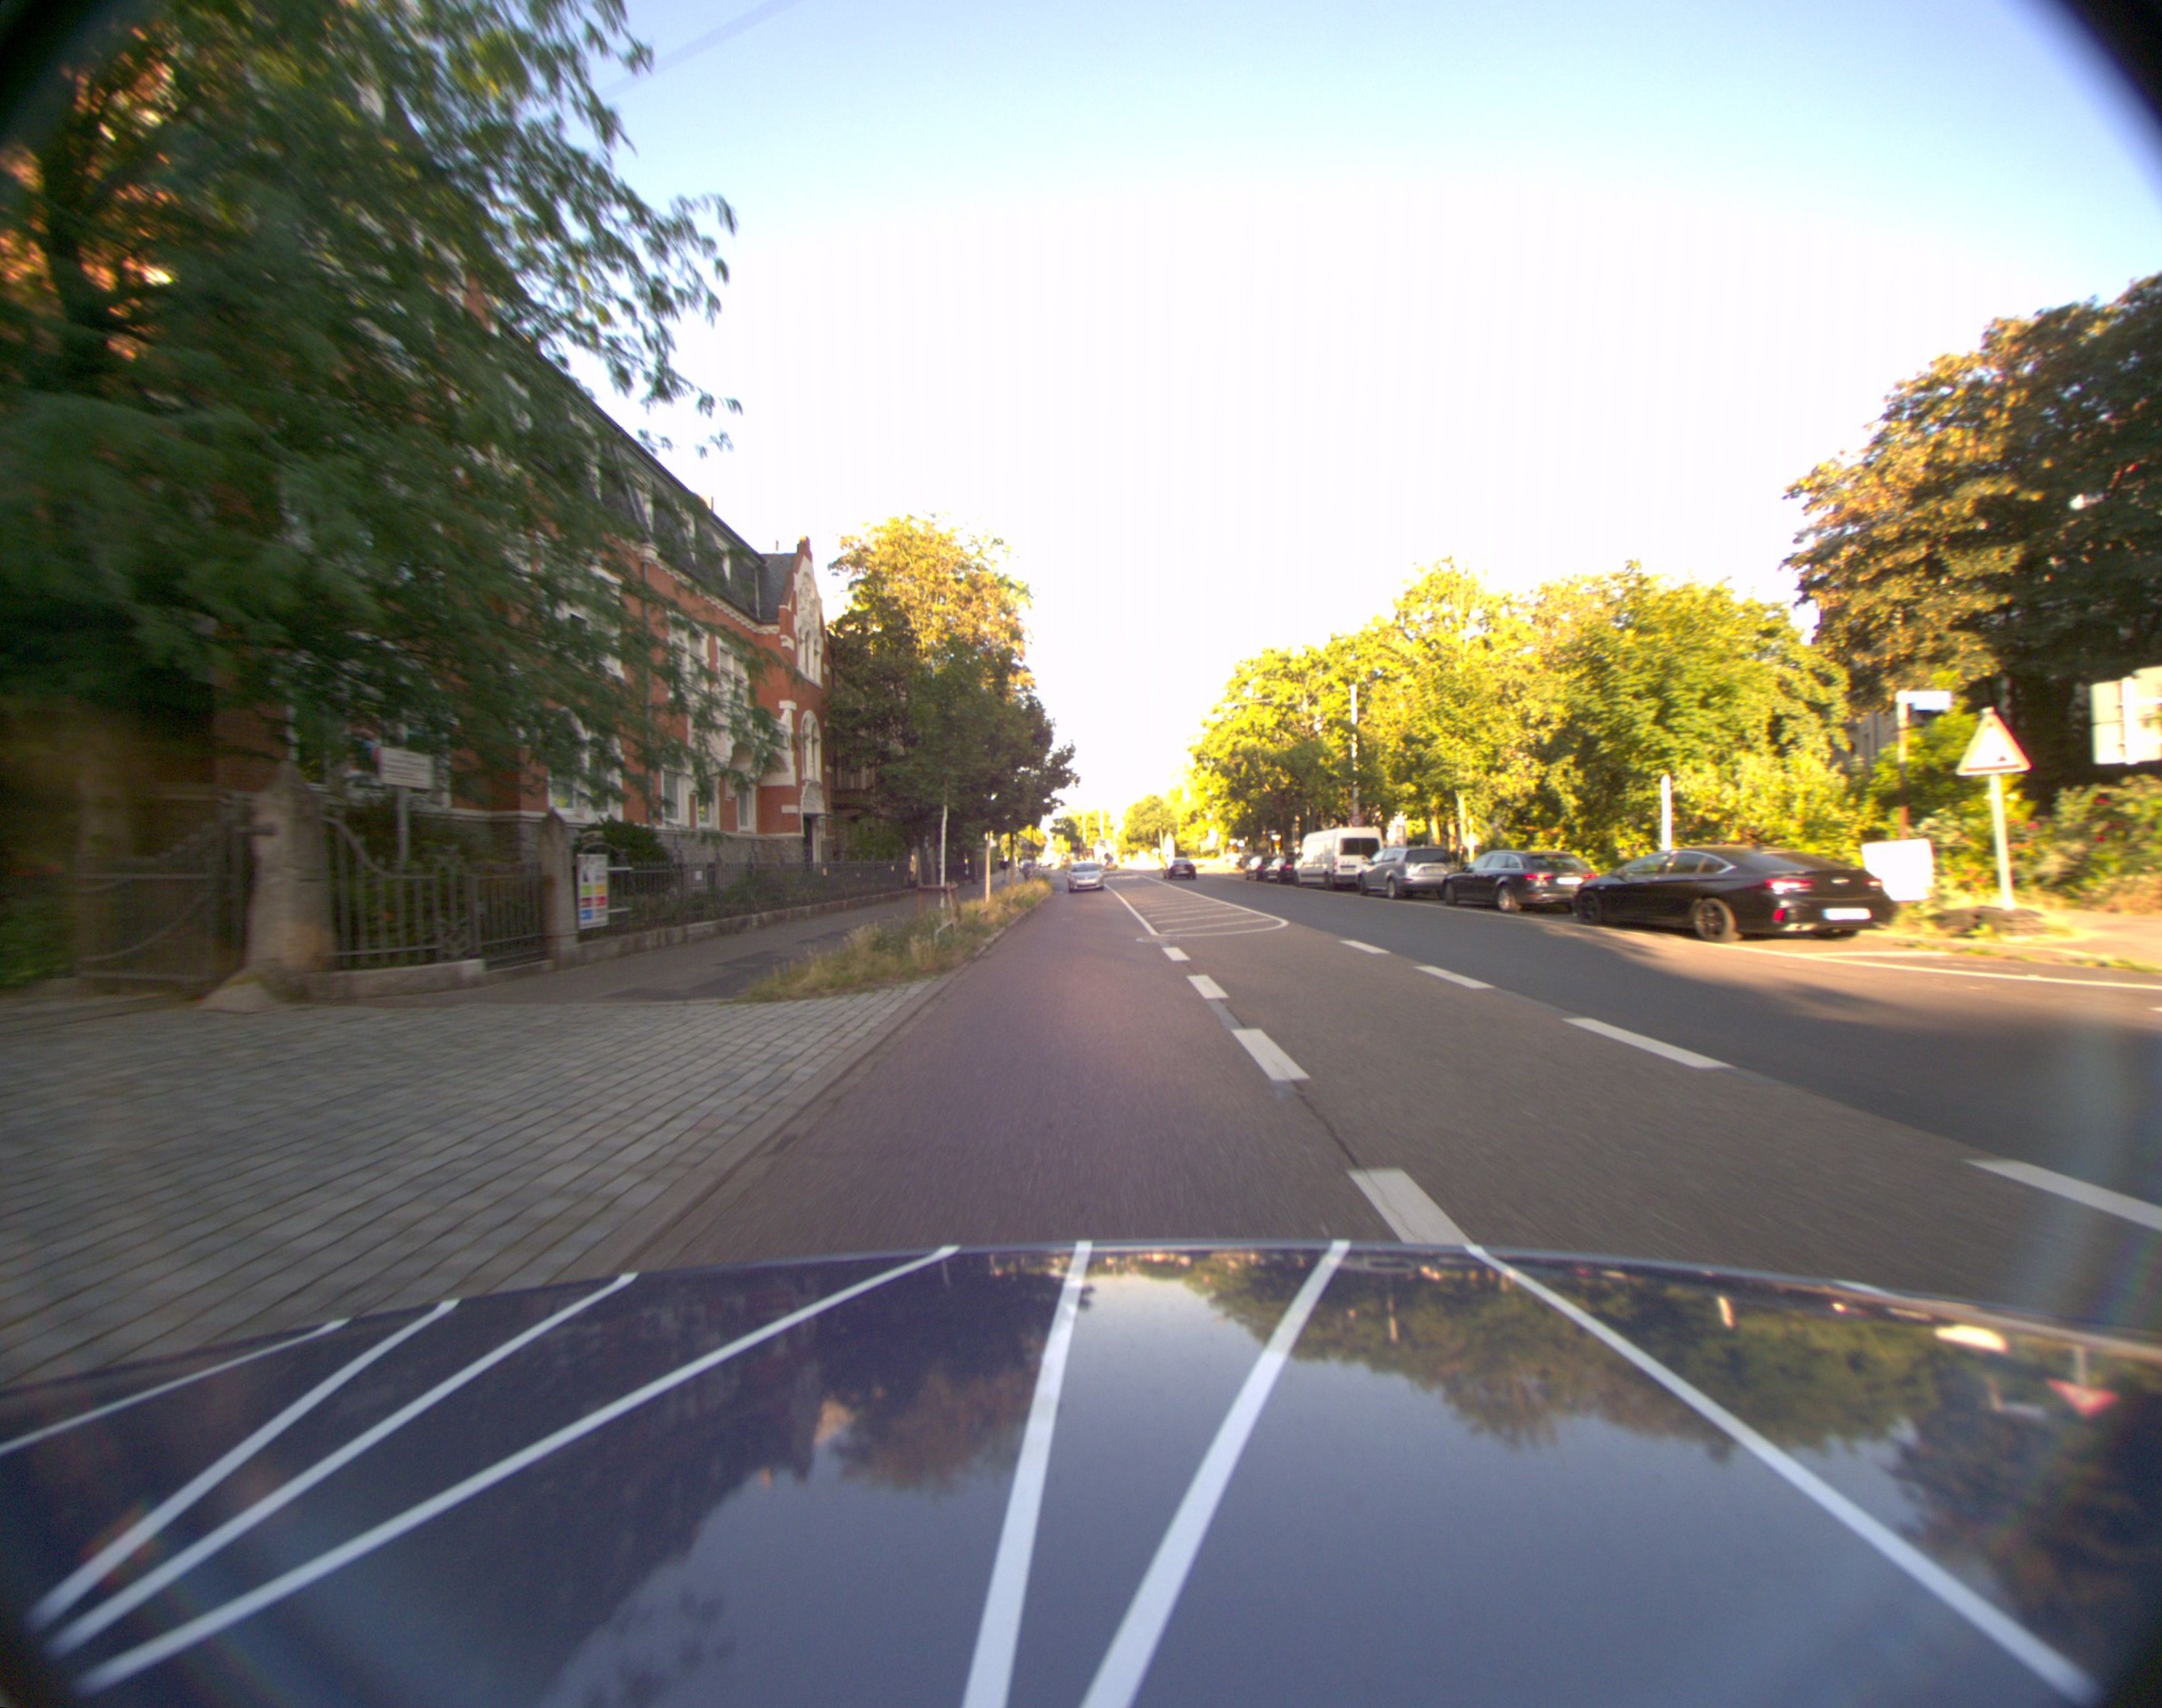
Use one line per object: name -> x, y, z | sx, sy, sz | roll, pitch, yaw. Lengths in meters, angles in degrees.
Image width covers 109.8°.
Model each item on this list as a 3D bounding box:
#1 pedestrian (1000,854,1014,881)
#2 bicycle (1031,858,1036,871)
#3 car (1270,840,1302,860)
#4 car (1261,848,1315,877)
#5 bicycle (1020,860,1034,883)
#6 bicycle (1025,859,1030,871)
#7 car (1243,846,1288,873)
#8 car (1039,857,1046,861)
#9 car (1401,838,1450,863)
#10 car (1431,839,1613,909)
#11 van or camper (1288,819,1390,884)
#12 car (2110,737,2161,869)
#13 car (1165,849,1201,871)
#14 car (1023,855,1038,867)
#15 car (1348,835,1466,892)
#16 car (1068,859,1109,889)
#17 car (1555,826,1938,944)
pedestrian -> -4.951, 0.892, 50.712 | 0.748, 1.768, 0.830 | 1, 1, -14
bicycle -> -5.168, 1.166, 82.743 | 0.567, 1.292, 2.263 | 2, 2, -4
car -> 19.936, -0.414, 74.038 | 1.823, 1.784, 3.998 | -3, 0, -4
car -> 10.802, 0.422, 39.923 | 1.632, 1.421, 4.242 | -1, 0, 0
bicycle -> -2.883, 0.948, 40.959 | 0.648, 1.160, 1.930 | -4, 0, -3
bicycle -> -5.834, 1.200, 82.744 | 0.567, 1.268, 2.263 | 2, 2, -4
car -> 10.873, 0.307, 45.085 | 1.627, 1.498, 4.544 | -2, 0, 1
car -> -12.944, 1.730, 256.464 | 1.948, 1.258, 4.161 | -1, 0, -5
car -> 28.298, -0.293, 62.537 | 1.999, 1.871, 3.998 | -4, 0, -4
car -> 10.466, 0.414, 18.502 | 1.740, 1.437, 4.625 | -2, 0, 0
van or camper -> 10.647, -0.101, 31.935 | 2.096, 2.454, 6.305 | -1, 0, 0
car -> 22.732, -1.047, 14.081 | 2.121, 2.723, 5.319 | -1, 0, 26
car -> 6.745, 0.376, 50.585 | 1.770, 1.394, 4.544 | -2, 0, 1
car -> -6.130, 0.855, 92.815 | 1.731, 1.456, 3.545 | 1, 0, -2
car -> 10.384, 0.268, 24.610 | 1.870, 1.635, 4.571 | -1, 0, 0
car -> 0.337, 0.986, 39.119 | 1.895, 1.455, 3.965 | -1, 0, -1
car -> 10.209, 0.388, 12.350 | 1.998, 1.475, 4.828 | -2, 0, 0
